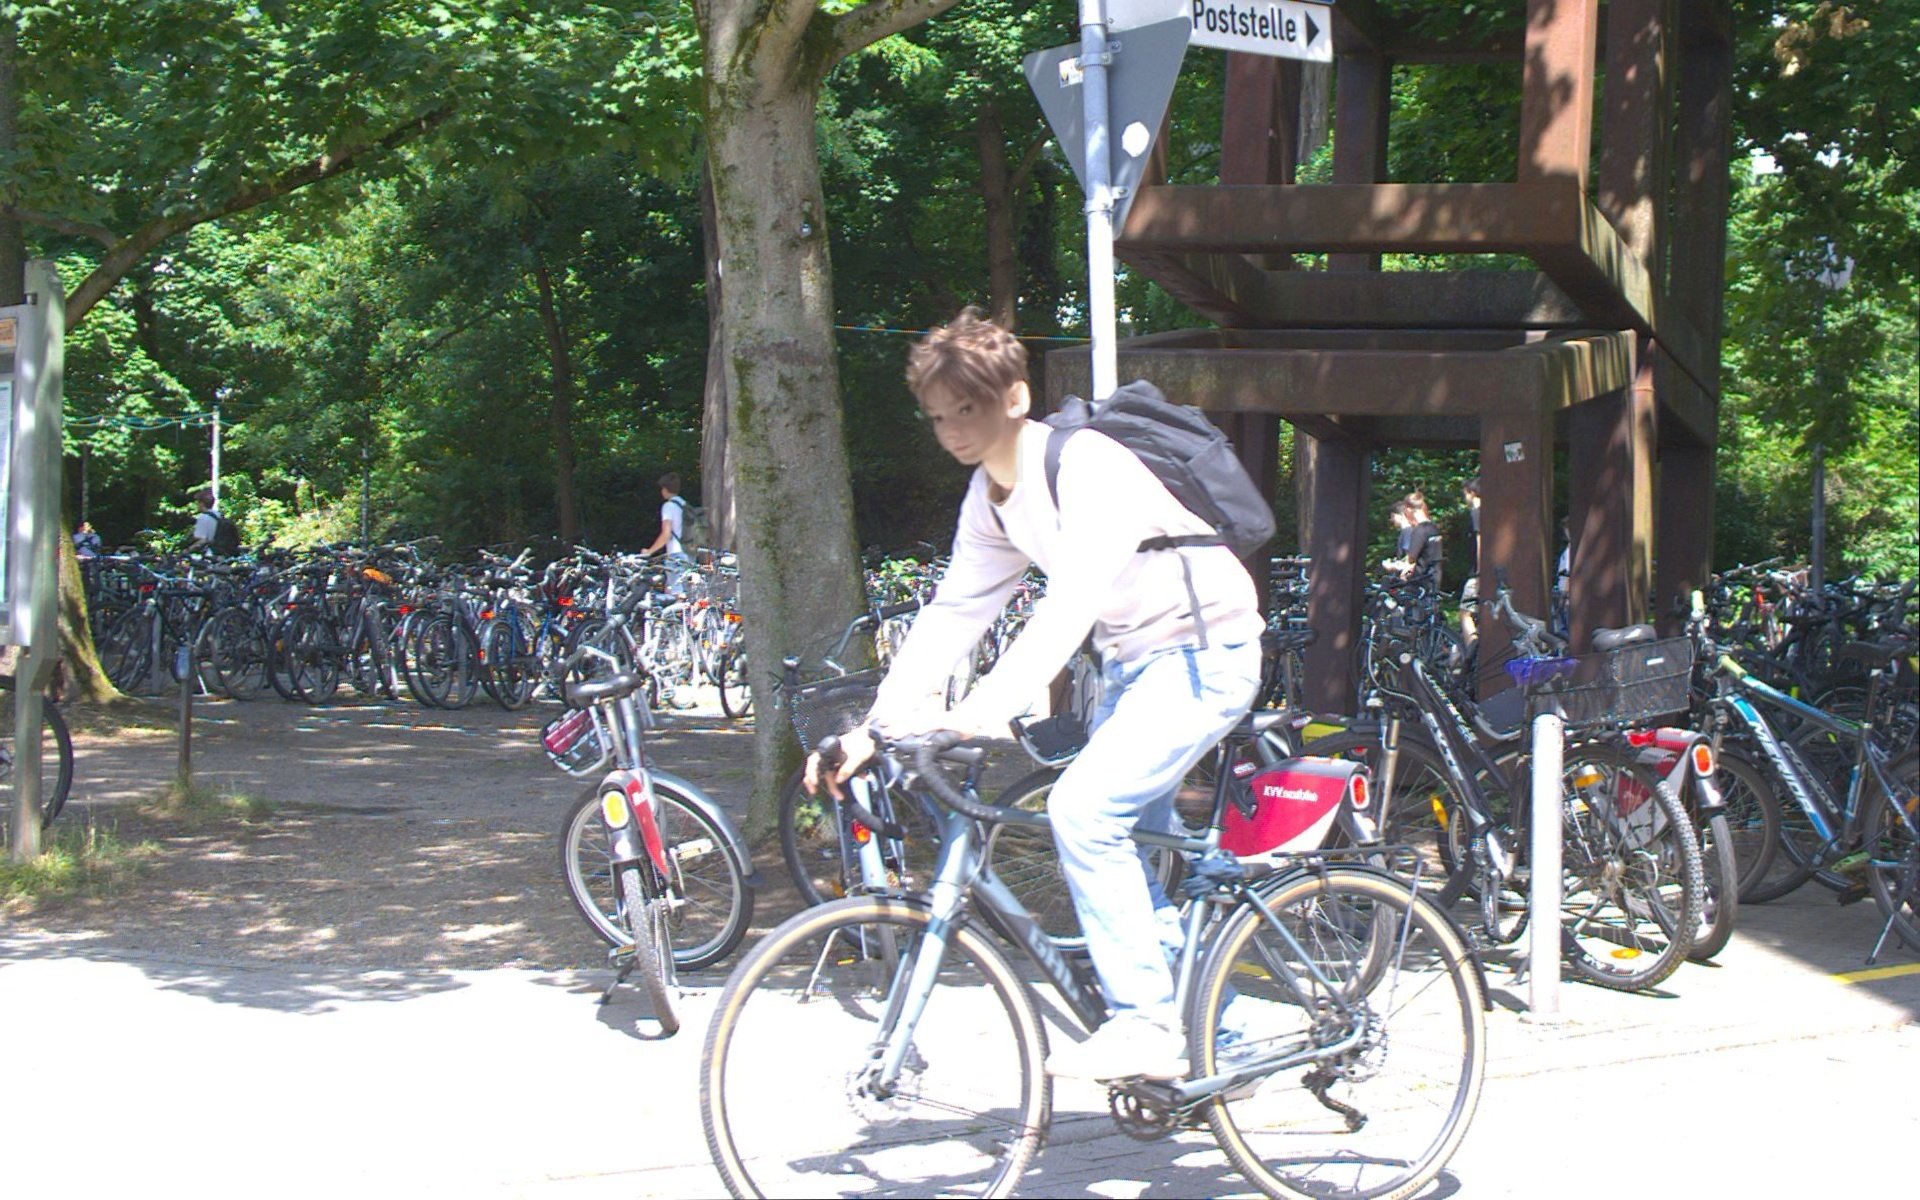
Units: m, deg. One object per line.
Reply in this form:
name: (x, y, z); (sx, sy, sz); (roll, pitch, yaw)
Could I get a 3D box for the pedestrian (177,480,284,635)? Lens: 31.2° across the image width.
pedestrian: (-8.560, -0.500, 40.340); (0.906, 1.768, 0.768); (3, 2, 35)

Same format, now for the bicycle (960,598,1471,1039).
bicycle: (0.694, 0.576, 9.840); (0.495, 1.104, 1.629); (-1, 2, -37)

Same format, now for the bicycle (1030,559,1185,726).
bicycle: (1.052, 0.277, 24.092); (0.502, 1.104, 1.905); (3, 1, 19)

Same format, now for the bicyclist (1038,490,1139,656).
bicyclist: (1.249, -0.262, 33.390); (0.720, 1.562, 0.594); (3, 1, 32)

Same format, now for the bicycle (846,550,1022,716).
bicycle: (-0.165, 0.220, 24.344); (0.502, 1.104, 1.904); (3, 1, 22)

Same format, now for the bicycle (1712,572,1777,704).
bicycle: (6.787, 0.308, 29.706); (0.473, 1.080, 1.698); (3, 1, 14)

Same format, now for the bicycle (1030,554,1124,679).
bicycle: (1.077, 0.135, 31.299); (0.473, 1.080, 1.698); (3, 1, 14)

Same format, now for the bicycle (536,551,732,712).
bicycle: (-2.347, 0.212, 25.004); (0.502, 1.104, 2.003); (3, 1, 22)

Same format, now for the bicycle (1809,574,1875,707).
bicycle: (7.576, 0.333, 29.567); (0.473, 1.080, 1.698); (3, 1, 14)

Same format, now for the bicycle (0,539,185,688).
bicycle: (-6.884, 0.093, 26.706); (0.502, 1.104, 2.027); (3, 1, 25)

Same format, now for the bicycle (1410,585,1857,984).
bicycle: (2.070, 0.531, 10.785); (0.495, 1.104, 1.630); (-1, 2, -25)

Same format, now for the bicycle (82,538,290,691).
bicycle: (-5.905, 0.099, 26.337); (0.502, 1.104, 2.028); (3, 1, 20)

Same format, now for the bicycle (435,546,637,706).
bicycle: (-3.084, 0.180, 25.195); (0.502, 1.104, 2.003); (3, 1, 22)

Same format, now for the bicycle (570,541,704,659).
bicycle: (-3.077, -0.001, 32.888); (0.473, 1.080, 1.697); (3, 1, 23)

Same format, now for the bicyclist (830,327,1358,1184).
bicyclist: (0.243, 0.268, 6.683); (0.872, 1.568, 0.641); (0, 3, -14)

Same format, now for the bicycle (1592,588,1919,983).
bicycle: (2.738, 0.553, 10.690); (0.495, 1.104, 1.630); (2, 1, -32)

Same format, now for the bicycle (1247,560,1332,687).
bicycle: (2.947, 0.194, 30.627); (0.473, 1.080, 1.698); (3, 1, 14)

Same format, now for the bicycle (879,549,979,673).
bicycle: (-0.275, 0.088, 31.480); (0.473, 1.080, 1.698); (3, 1, 14)

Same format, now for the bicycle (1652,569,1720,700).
bicycle: (6.298, 0.285, 29.793); (0.473, 1.080, 1.698); (3, 1, 14)

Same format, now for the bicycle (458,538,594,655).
bicycle: (-4.204, -0.037, 33.411); (0.473, 1.080, 1.697); (3, 1, 23)

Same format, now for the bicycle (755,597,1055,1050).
bicycle: (-0.192, 0.573, 9.737); (0.588, 1.104, 1.747); (0, 2, -10)

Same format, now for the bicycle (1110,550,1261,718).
bicycle: (1.590, 0.220, 23.981); (0.502, 1.104, 1.905); (3, 1, 19)

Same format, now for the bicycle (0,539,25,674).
bicycle: (-8.396, 0.047, 27.550); (0.502, 1.104, 2.027); (3, 1, 25)

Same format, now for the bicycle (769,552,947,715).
bicycle: (-0.715, 0.225, 24.690); (0.502, 1.104, 1.904); (3, 1, 22)

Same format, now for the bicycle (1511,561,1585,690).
bicycle: (5.151, 0.207, 30.072); (0.473, 1.080, 1.698); (3, 1, 14)

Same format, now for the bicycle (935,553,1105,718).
bicycle: (0.445, 0.234, 24.403); (0.502, 1.104, 1.904); (3, 1, 22)

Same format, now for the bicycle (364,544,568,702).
bicycle: (-3.629, 0.156, 25.434); (0.502, 1.104, 2.003); (3, 1, 22)

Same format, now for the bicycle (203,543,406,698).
bicycle: (-4.931, 0.140, 25.979); (0.502, 1.104, 2.028); (3, 1, 20)

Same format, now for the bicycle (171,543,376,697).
bicycle: (-5.181, 0.138, 26.073); (0.502, 1.104, 2.028); (3, 1, 20)

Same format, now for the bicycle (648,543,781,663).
bicycle: (-2.294, 0.020, 32.275); (0.473, 1.080, 1.697); (3, 1, 23)

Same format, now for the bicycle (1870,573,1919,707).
bicycle: (8.014, 0.323, 29.177); (0.473, 1.080, 1.698); (3, 1, 14)

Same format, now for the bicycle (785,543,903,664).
bicycle: (-1.069, 0.026, 31.995); (0.473, 1.080, 1.698); (3, 1, 19)

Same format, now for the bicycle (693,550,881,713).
bicycle: (-1.230, 0.213, 24.858); (0.502, 1.104, 2.003); (3, 1, 22)

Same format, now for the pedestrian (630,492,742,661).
pedestrian: (-2.944, -0.256, 36.903); (0.767, 1.768, 0.907); (1, 2, -37)

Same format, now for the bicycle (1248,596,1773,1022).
bicycle: (1.584, 0.567, 10.142); (0.495, 1.104, 1.629); (-1, 2, -37)

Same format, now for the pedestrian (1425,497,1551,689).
pedestrian: (5.022, -0.075, 32.697); (0.906, 1.768, 0.769); (3, 1, 30)

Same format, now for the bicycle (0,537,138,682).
bicycle: (-7.333, 0.065, 27.016); (0.502, 1.104, 2.027); (3, 1, 25)

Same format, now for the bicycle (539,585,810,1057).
bicycle: (-0.829, 0.562, 9.624); (0.637, 1.155, 1.630); (0, 2, -9)

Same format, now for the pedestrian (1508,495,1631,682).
pedestrian: (5.966, -0.118, 33.653); (0.906, 1.768, 0.768); (3, 1, 31)

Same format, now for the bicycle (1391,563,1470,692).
bicycle: (4.160, 0.228, 30.343); (0.473, 1.080, 1.698); (3, 1, 14)
